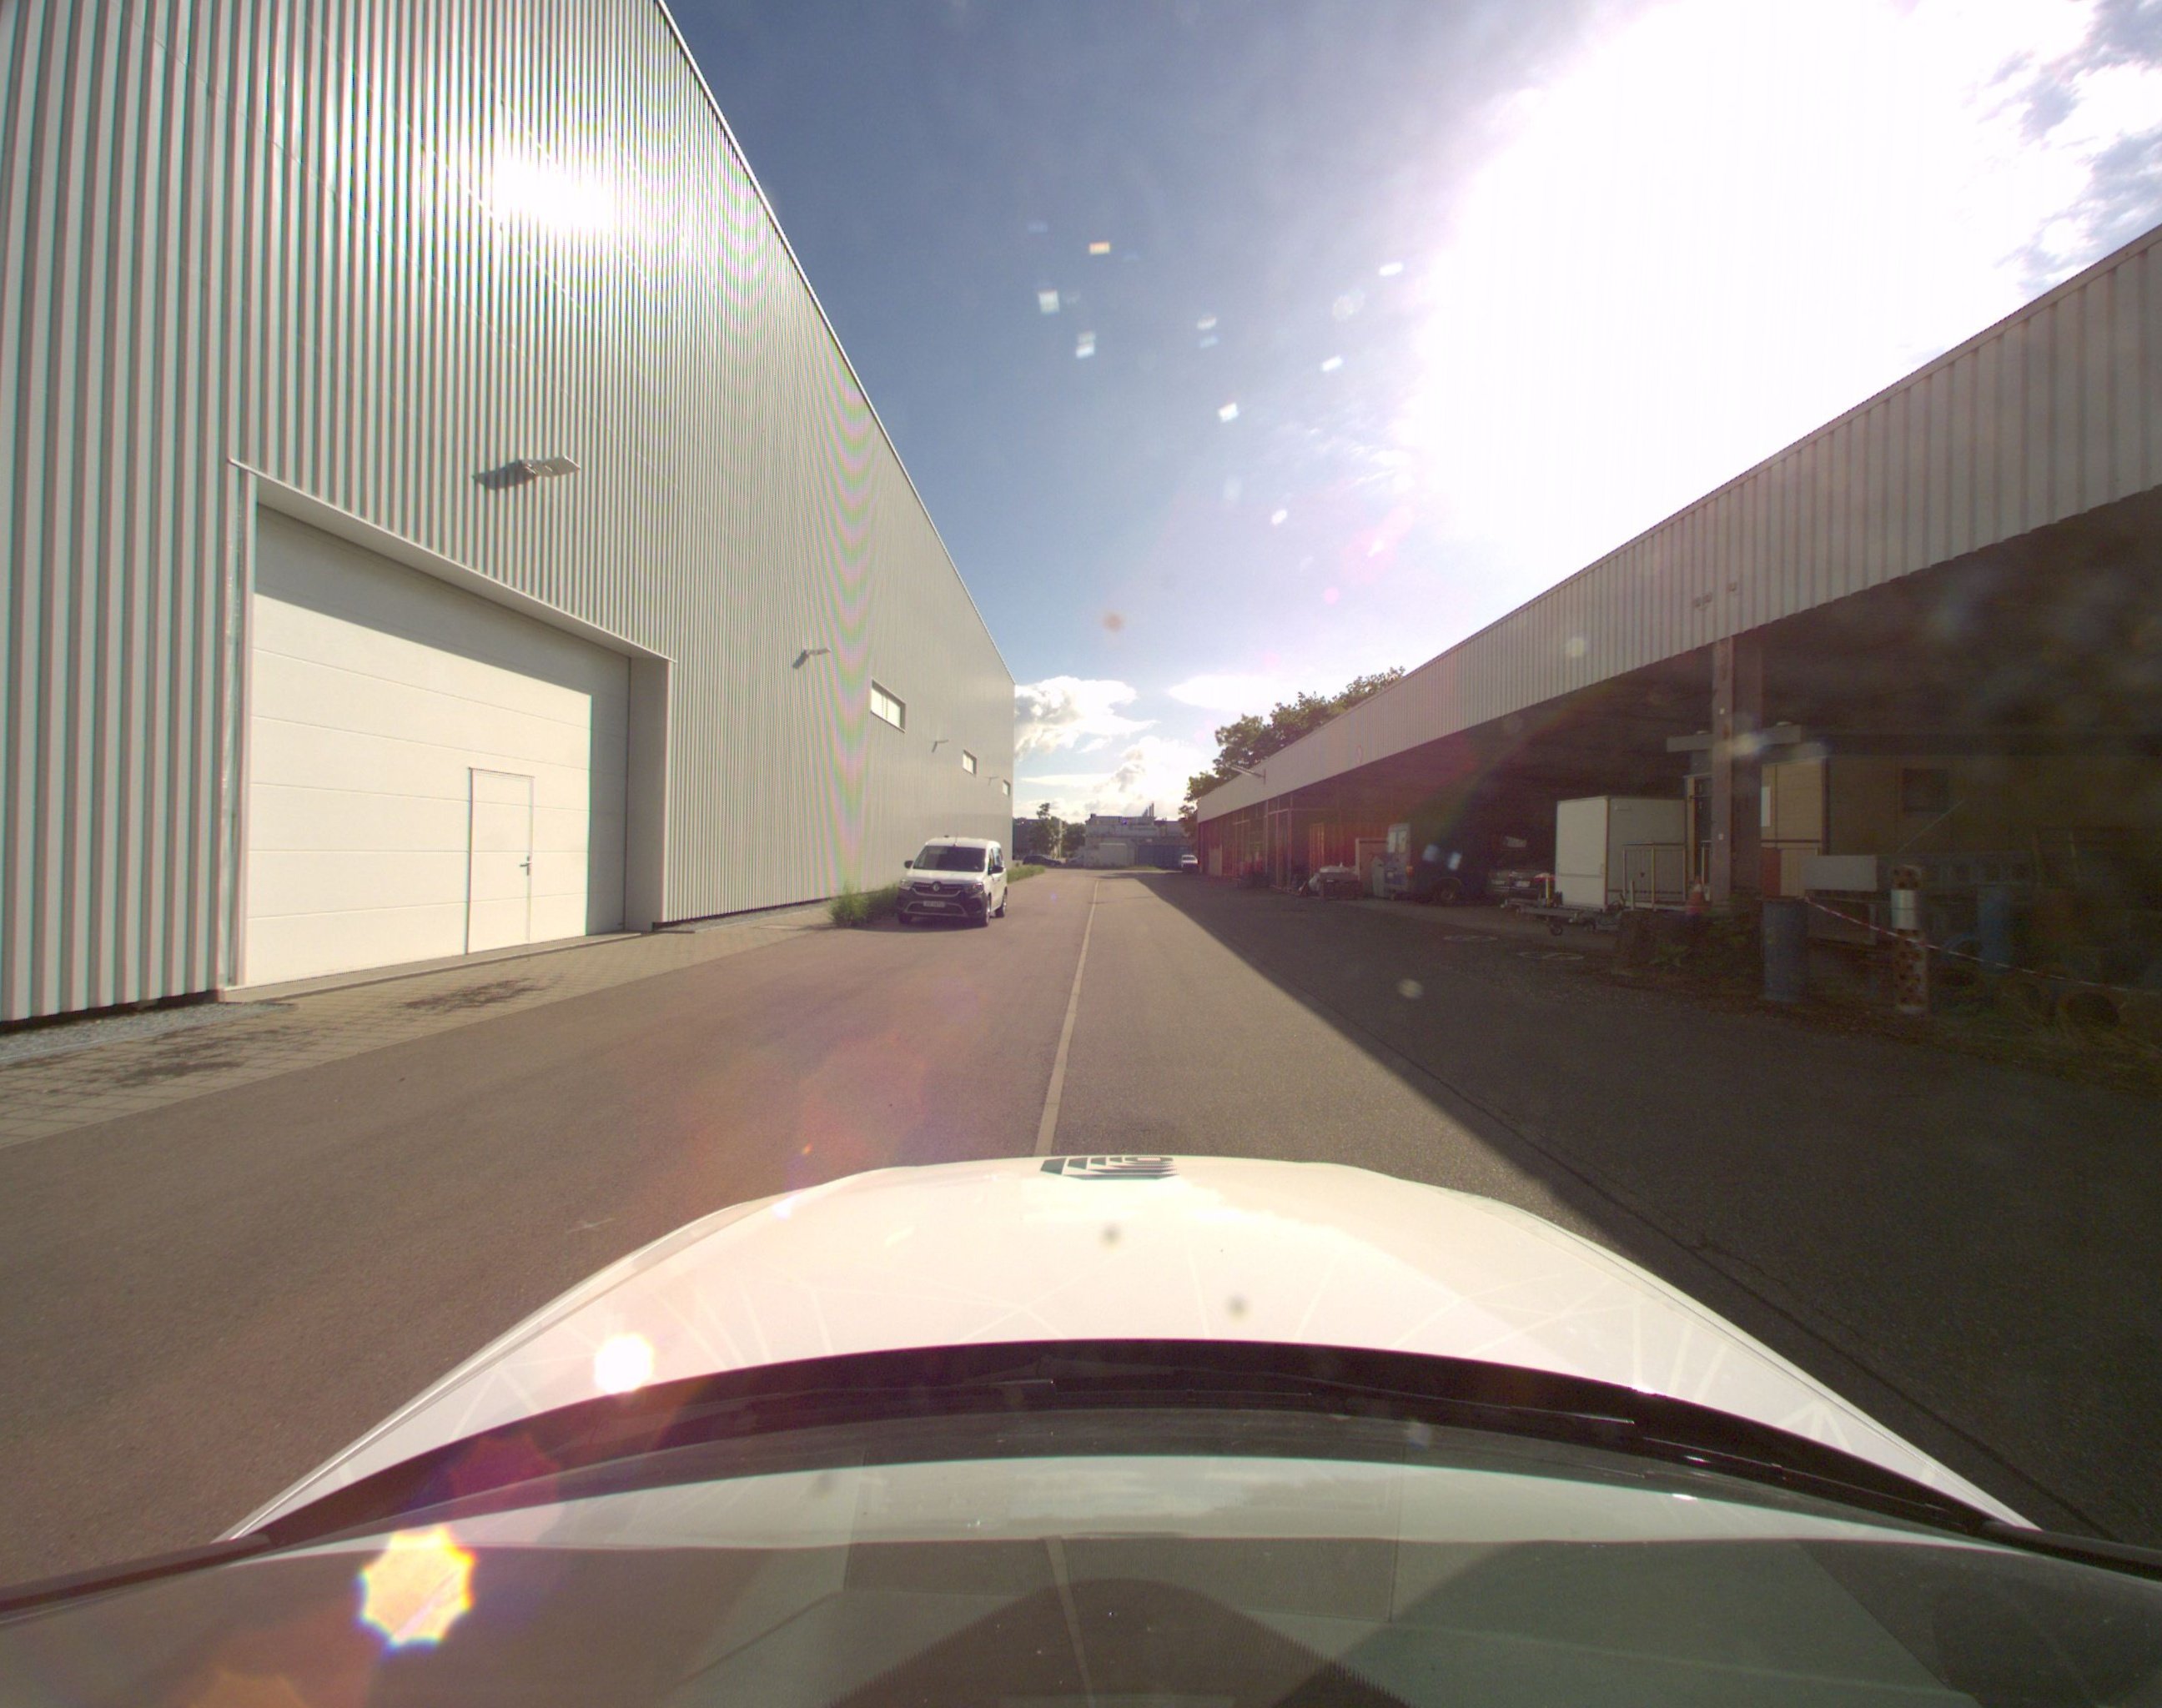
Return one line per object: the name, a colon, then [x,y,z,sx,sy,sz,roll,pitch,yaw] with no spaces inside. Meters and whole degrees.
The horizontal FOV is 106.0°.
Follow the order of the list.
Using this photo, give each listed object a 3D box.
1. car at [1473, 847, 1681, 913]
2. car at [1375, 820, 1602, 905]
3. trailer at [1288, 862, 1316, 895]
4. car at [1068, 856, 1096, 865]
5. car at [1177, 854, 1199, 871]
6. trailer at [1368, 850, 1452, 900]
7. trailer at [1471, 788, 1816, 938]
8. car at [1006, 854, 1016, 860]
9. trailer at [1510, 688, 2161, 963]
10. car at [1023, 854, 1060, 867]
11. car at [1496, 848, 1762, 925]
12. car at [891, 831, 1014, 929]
car: [11.871,0.617,19.664,3.953,1.514,1.839,0,-1,-2]
car: [11.280,0.231,22.832,5.314,2.281,2.153,0,-1,0]
trailer: [7.741,0.839,28.609,0.550,1.118,1.546,-1,-1,0]
car: [0.170,0.993,127.691,4.288,1.457,1.824,-1,-1,0]
car: [11.460,0.875,87.144,1.971,1.602,4.381,-1,1,3]
trailer: [10.234,0.636,25.460,2.028,1.466,1.741,-1,0,5]
trailer: [9.473,0.164,14.062,4.498,2.342,2.048,-1,-1,2]
car: [-16.800,0.664,195.435,1.852,1.494,4.028,-1,-1,0]
trailer: [11.962,-0.371,11.528,10.229,3.343,2.802,-1,0,1]
car: [-4.811,0.766,99.866,4.432,1.531,1.824,-1,-1,0]
car: [11.018,0.623,16.592,4.237,1.471,1.869,0,0,-2]
car: [-2.640,0.513,17.846,1.777,1.816,4.602,2,-1,1]
